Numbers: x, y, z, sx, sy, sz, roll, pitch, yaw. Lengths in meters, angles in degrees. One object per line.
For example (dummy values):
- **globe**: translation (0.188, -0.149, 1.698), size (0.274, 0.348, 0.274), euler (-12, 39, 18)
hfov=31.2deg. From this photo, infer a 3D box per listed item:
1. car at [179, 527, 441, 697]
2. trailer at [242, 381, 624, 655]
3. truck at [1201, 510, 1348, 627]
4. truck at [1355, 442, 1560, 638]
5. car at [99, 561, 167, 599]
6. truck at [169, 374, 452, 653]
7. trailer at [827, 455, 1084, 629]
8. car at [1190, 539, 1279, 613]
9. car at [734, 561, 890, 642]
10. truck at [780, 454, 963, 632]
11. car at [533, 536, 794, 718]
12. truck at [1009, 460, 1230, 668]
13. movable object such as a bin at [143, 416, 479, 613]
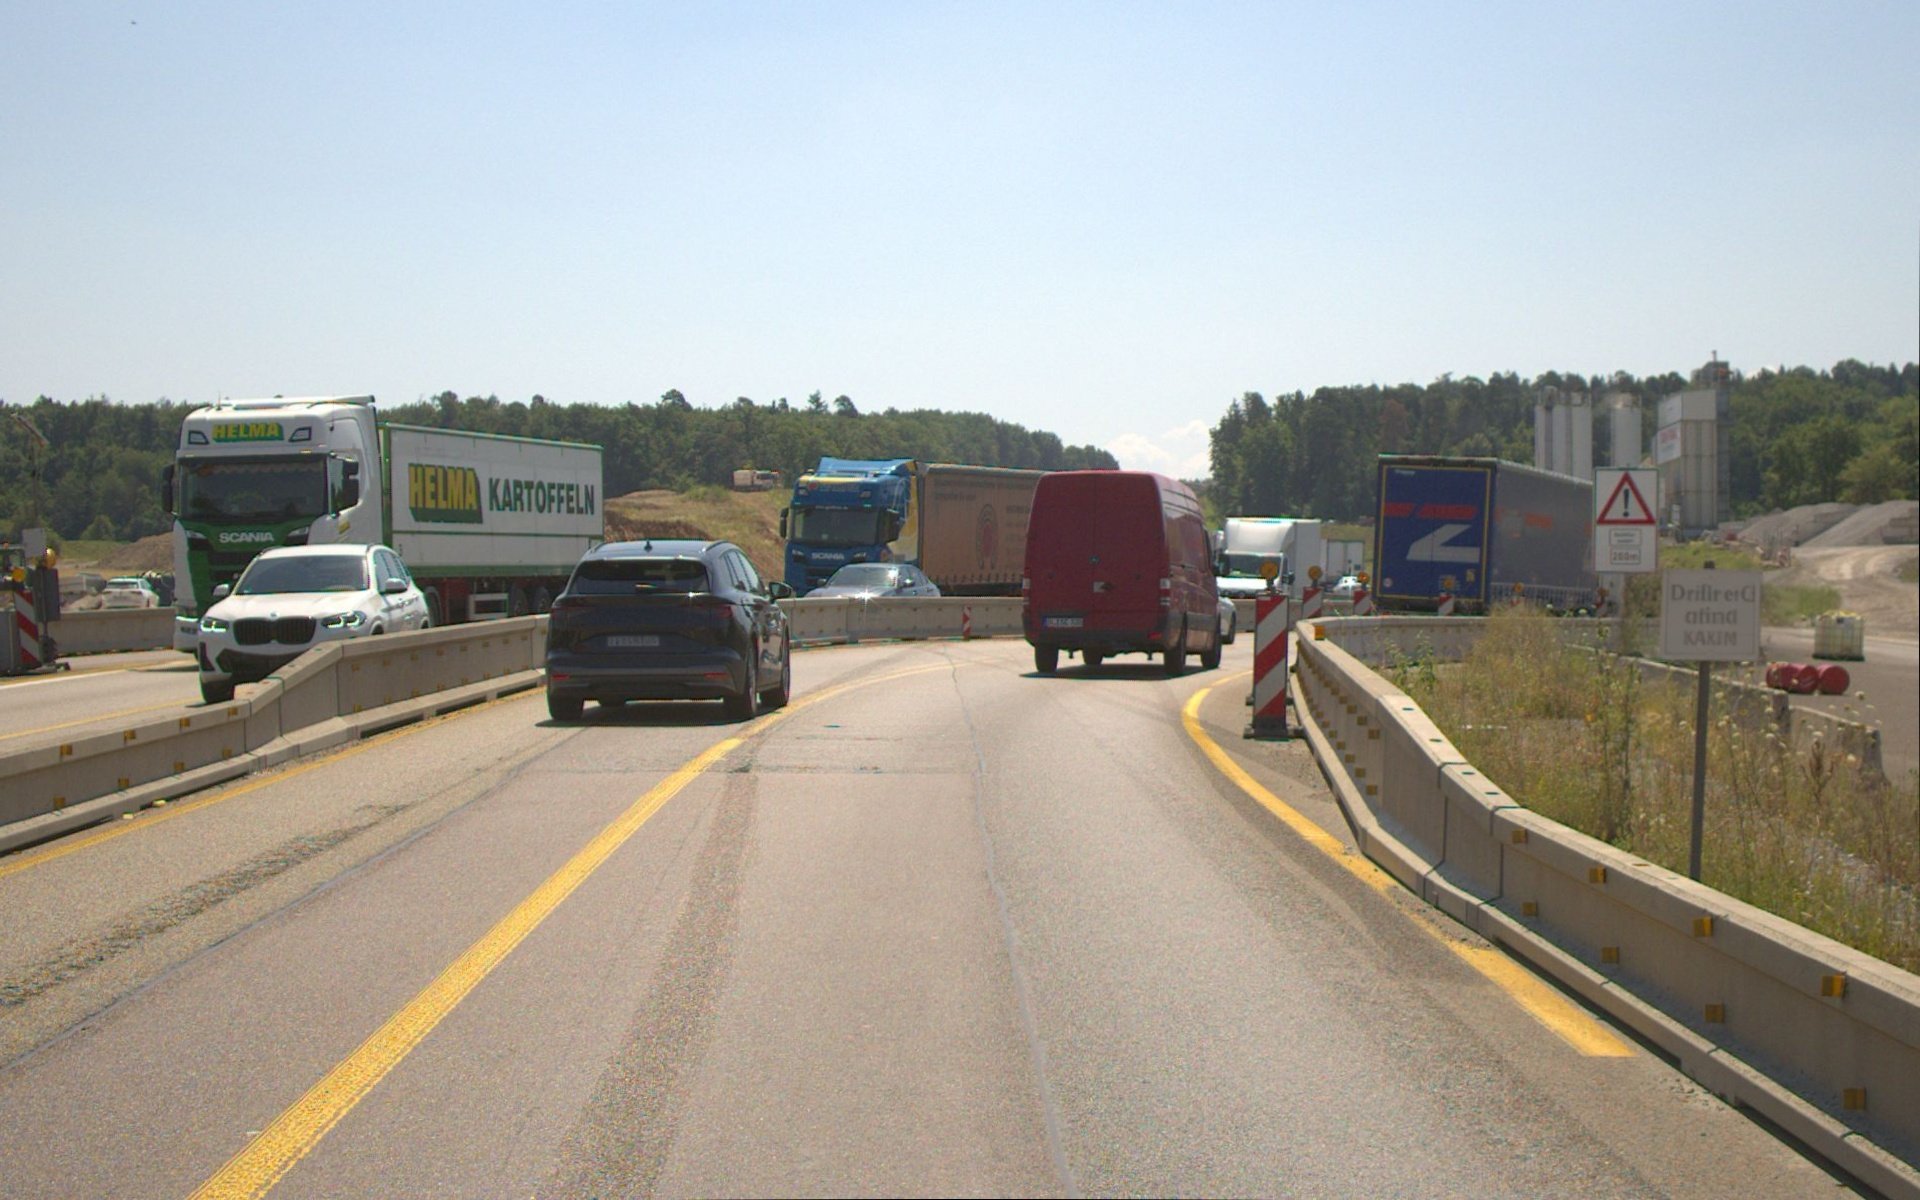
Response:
- **car**: translation (-7.091, 0.104, 37.948), size (1.993, 1.733, 4.493), euler (1, 1, 0)
- **trailer**: translation (-8.638, -1.300, 58.500), size (2.354, 4.138, 12.493), euler (1, 1, 11)
- **truck**: translation (9.457, -0.939, 102.701), size (2.582, 3.370, 6.920), euler (1, 1, 21)
- **truck**: translation (11.252, -1.314, 77.082), size (3.018, 4.139, 8.264), euler (1, 1, 19)
- **car**: translation (-31.858, -0.781, 132.539), size (1.611, 1.404, 4.447), euler (1, 1, -1)
- **truck**: translation (-9.715, -1.270, 51.909), size (2.449, 3.994, 5.075), euler (1, 0, 11)
- **trailer**: translation (0.098, -1.440, 88.508), size (2.589, 4.138, 13.053), euler (1, 1, 18)
- **car**: translation (6.103, -0.527, 76.096), size (1.802, 1.574, 3.999), euler (1, 1, 6)
- **car**: translation (-2.801, 0.016, 66.135), size (1.755, 1.473, 4.534), euler (1, 1, 14)
- **truck**: translation (-2.045, -1.337, 81.965), size (2.547, 4.067, 5.540), euler (1, 1, 19)
- **car**: translation (-2.642, 0.211, 31.464), size (1.795, 1.529, 3.931), euler (1, 1, 4)
- **truck**: translation (2.279, -0.488, 47.039), size (2.112, 2.624, 6.481), euler (1, 1, 11)
- **movable object such as a bin**: translation (-14.942, -1.917, 80.135), size (2.927, 4.315, 9.314), euler (1, 1, 24)
